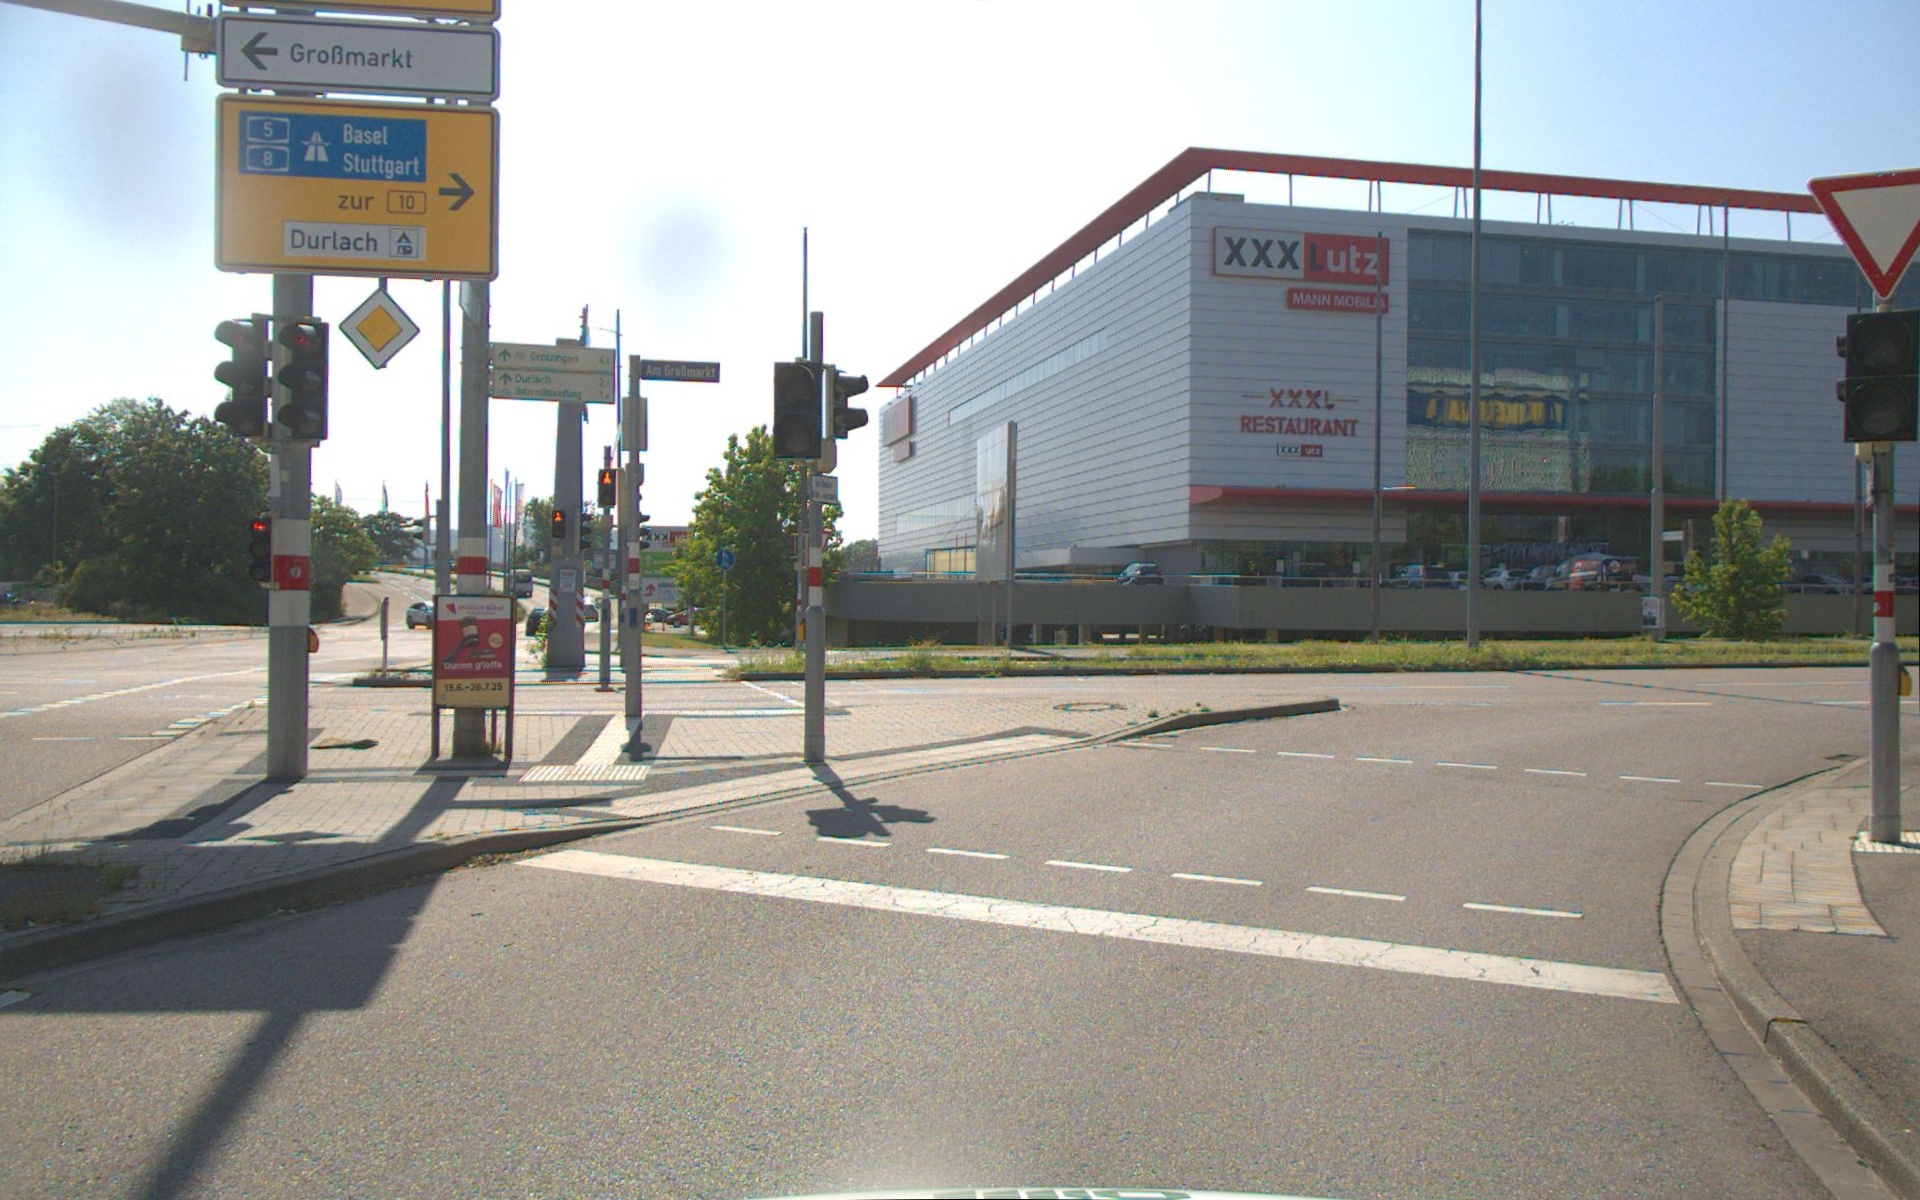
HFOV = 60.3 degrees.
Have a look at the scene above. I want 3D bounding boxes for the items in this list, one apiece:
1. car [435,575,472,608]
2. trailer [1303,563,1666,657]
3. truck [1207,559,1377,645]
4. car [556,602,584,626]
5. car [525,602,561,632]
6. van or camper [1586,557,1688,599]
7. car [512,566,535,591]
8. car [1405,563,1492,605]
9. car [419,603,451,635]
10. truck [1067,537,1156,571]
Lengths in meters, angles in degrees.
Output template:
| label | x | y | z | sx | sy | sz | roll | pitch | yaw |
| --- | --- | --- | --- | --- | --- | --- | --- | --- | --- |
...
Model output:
| label | x | y | z | sx | sy | sz | roll | pitch | yaw |
| --- | --- | --- | --- | --- | --- | --- | --- | --- | --- |
| car | -33.223 | -0.581 | 108.541 | 1.960 | 2.048 | 3.967 | 2 | 1 | -14 |
| trailer | 17.029 | 0.332 | 53.632 | 11.659 | 2.512 | 1.995 | 3 | 1 | -11 |
| truck | 10.473 | 0.057 | 52.266 | 4.795 | 2.466 | 1.994 | 3 | 1 | -12 |
| car | -25.715 | 0.918 | 109.199 | 1.659 | 1.382 | 3.988 | 2 | 1 | -12 |
| car | -22.132 | 0.874 | 87.877 | 1.659 | 1.382 | 3.988 | 2 | 1 | -12 |
| van or camper | 36.601 | -1.206 | 89.437 | 4.902 | 2.048 | 1.992 | 2 | 1 | -16 |
| car | -44.611 | -2.190 | 169.065 | 1.959 | 2.361 | 3.988 | 2 | 1 | -13 |
| car | 25.964 | -0.861 | 87.935 | 3.922 | 2.048 | 1.992 | 2 | 1 | -16 |
| car | -31.309 | 1.103 | 98.716 | 1.731 | 1.825 | 3.332 | 0 | 0 | -16 |
| truck | 10.583 | -3.220 | 115.392 | 5.806 | 2.048 | 1.994 | 3 | 1 | -13 |
